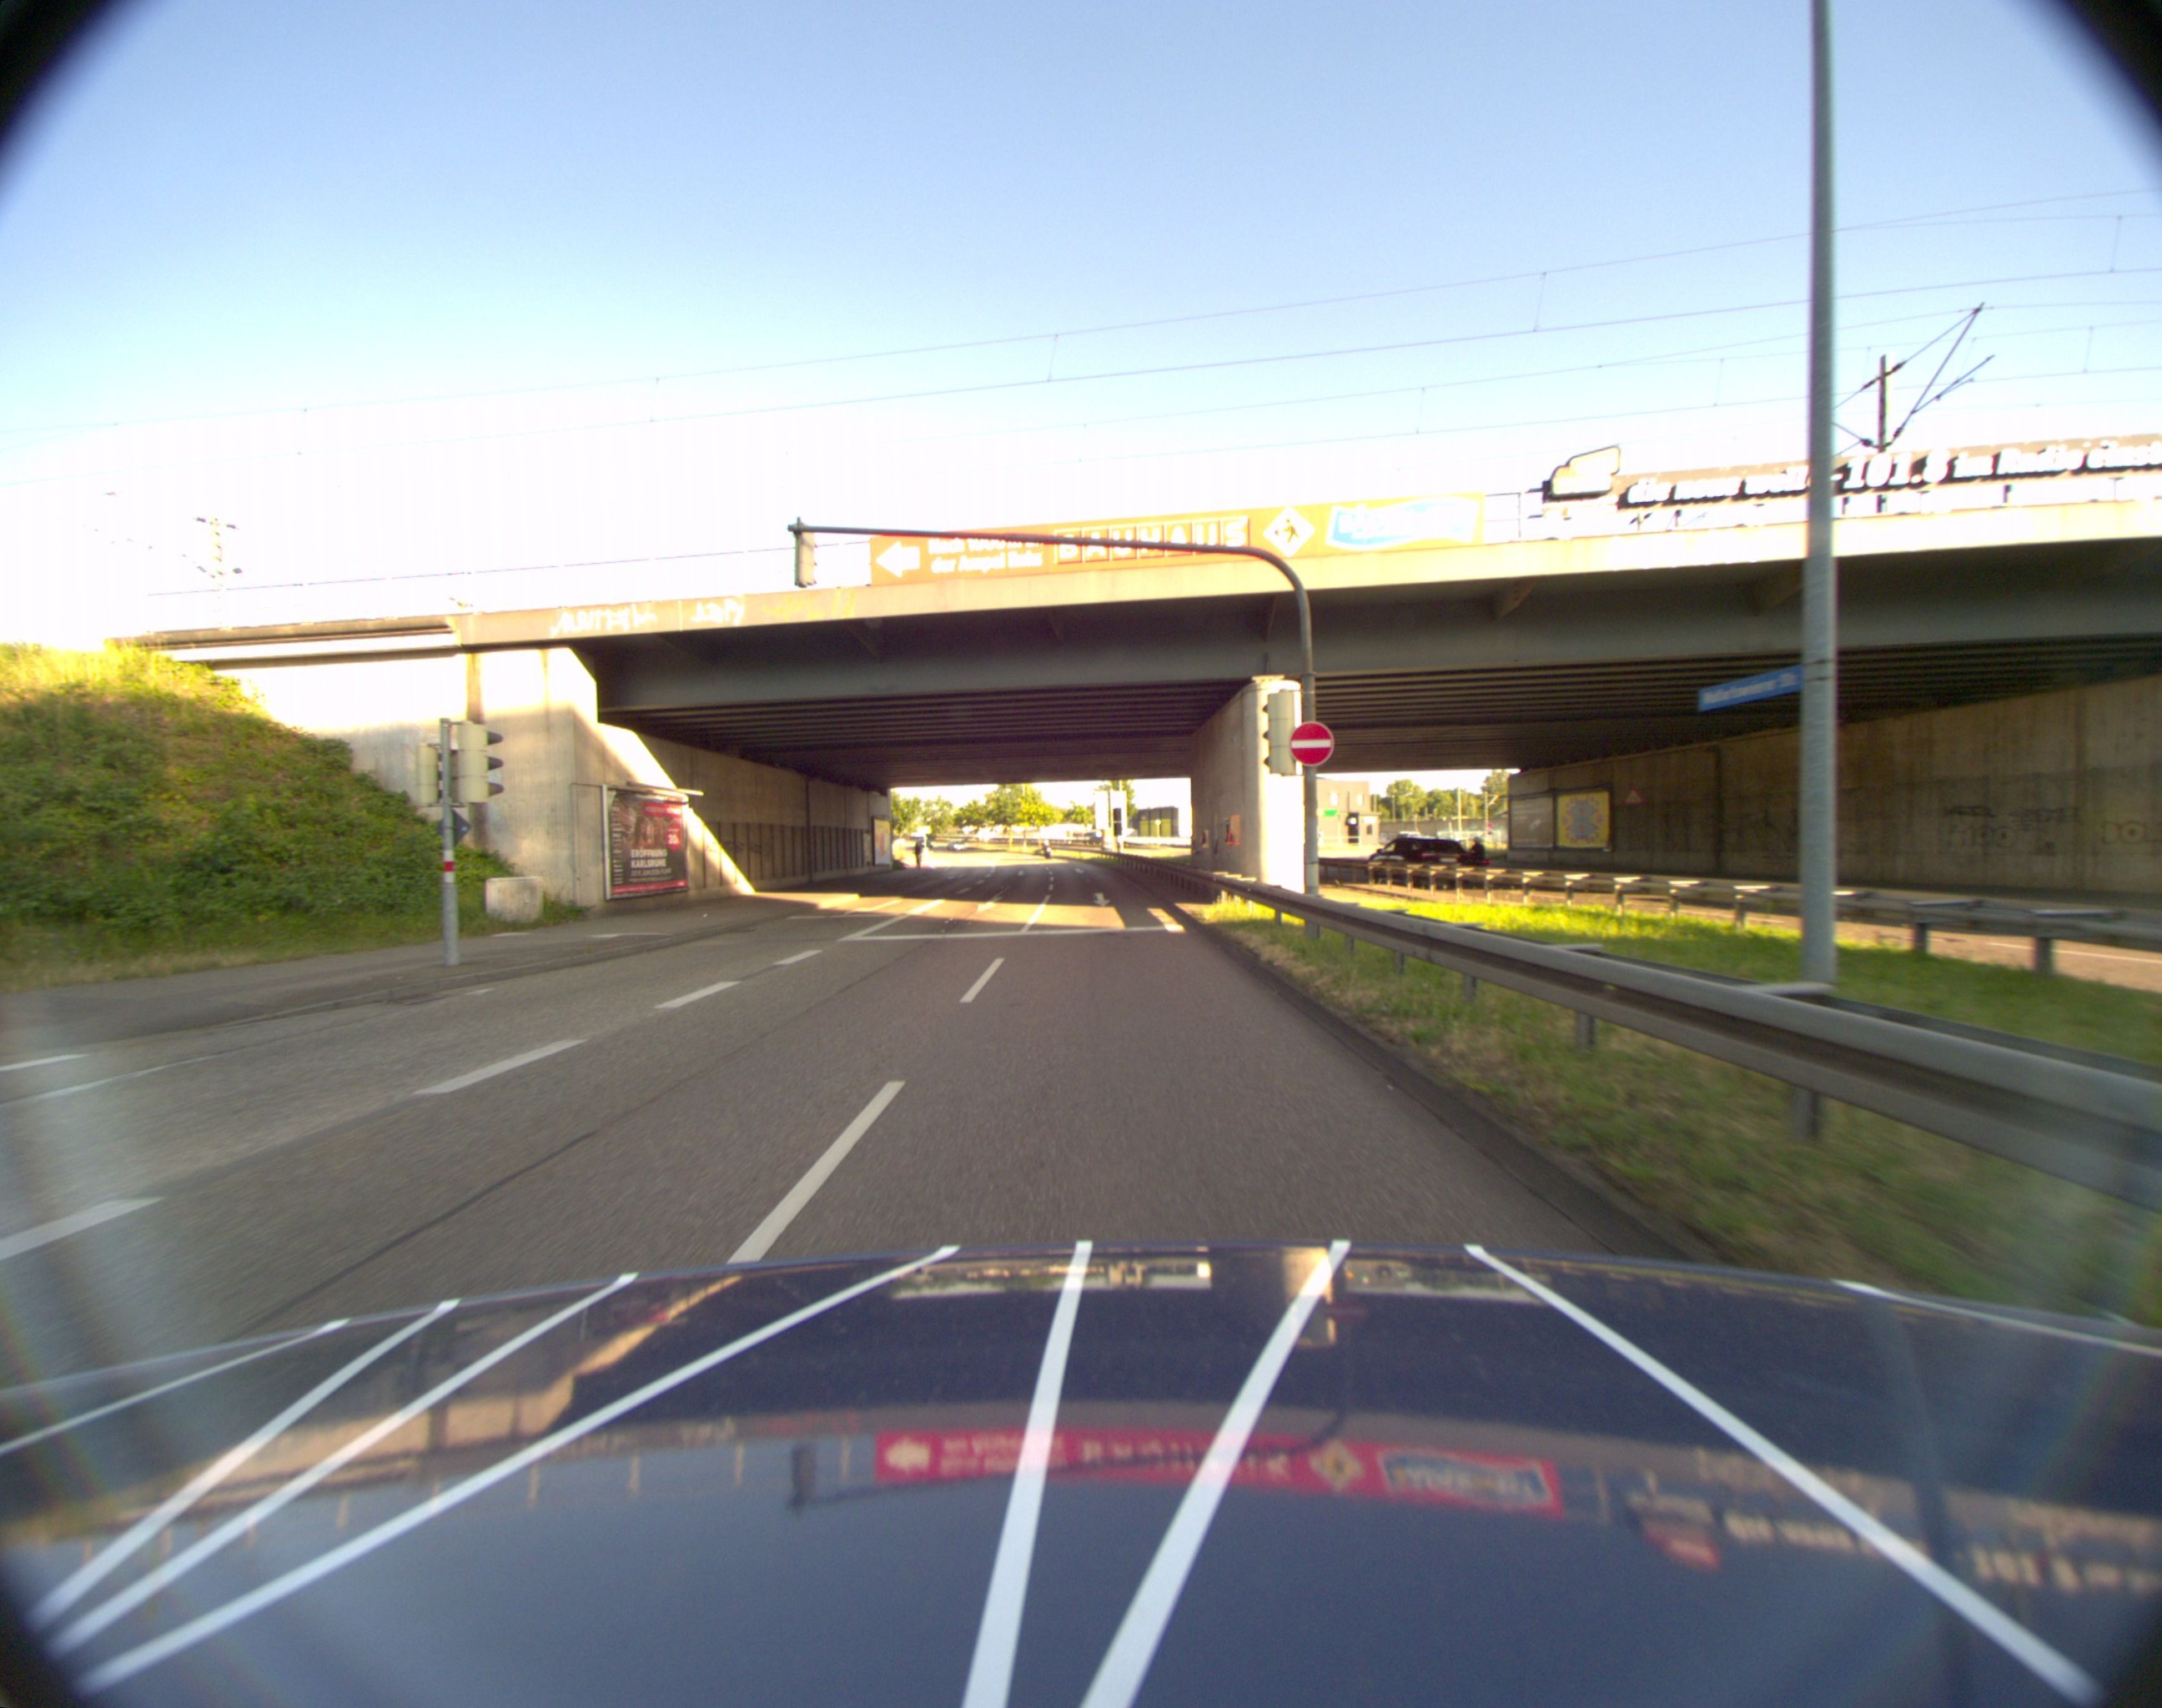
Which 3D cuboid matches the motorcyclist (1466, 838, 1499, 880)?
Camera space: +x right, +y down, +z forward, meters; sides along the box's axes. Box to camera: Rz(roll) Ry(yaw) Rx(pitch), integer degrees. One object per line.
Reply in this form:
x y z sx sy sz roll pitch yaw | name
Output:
14.138 0.178 26.766 0.683 1.416 0.867 -3 2 4 | motorcyclist

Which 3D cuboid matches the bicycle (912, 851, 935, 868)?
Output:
-10.300 0.364 49.728 0.784 1.051 2.490 -4 2 -27 | bicycle

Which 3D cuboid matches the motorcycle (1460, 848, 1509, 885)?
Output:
14.149 0.400 26.716 0.682 1.150 2.238 -3 2 5 | motorcycle

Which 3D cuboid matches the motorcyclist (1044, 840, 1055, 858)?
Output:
-2.703 -0.415 65.144 0.839 1.434 0.878 -3 2 1 | motorcyclist

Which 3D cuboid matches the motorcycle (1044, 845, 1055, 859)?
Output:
-2.683 -0.200 65.022 0.811 1.040 2.352 -3 2 1 | motorcycle

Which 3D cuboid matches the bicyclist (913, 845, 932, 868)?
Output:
-10.424 0.147 49.891 0.844 1.413 1.111 -4 3 -27 | bicyclist

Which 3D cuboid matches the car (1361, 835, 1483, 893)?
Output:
11.432 0.249 25.896 1.999 1.687 4.679 2 2 0 | car
